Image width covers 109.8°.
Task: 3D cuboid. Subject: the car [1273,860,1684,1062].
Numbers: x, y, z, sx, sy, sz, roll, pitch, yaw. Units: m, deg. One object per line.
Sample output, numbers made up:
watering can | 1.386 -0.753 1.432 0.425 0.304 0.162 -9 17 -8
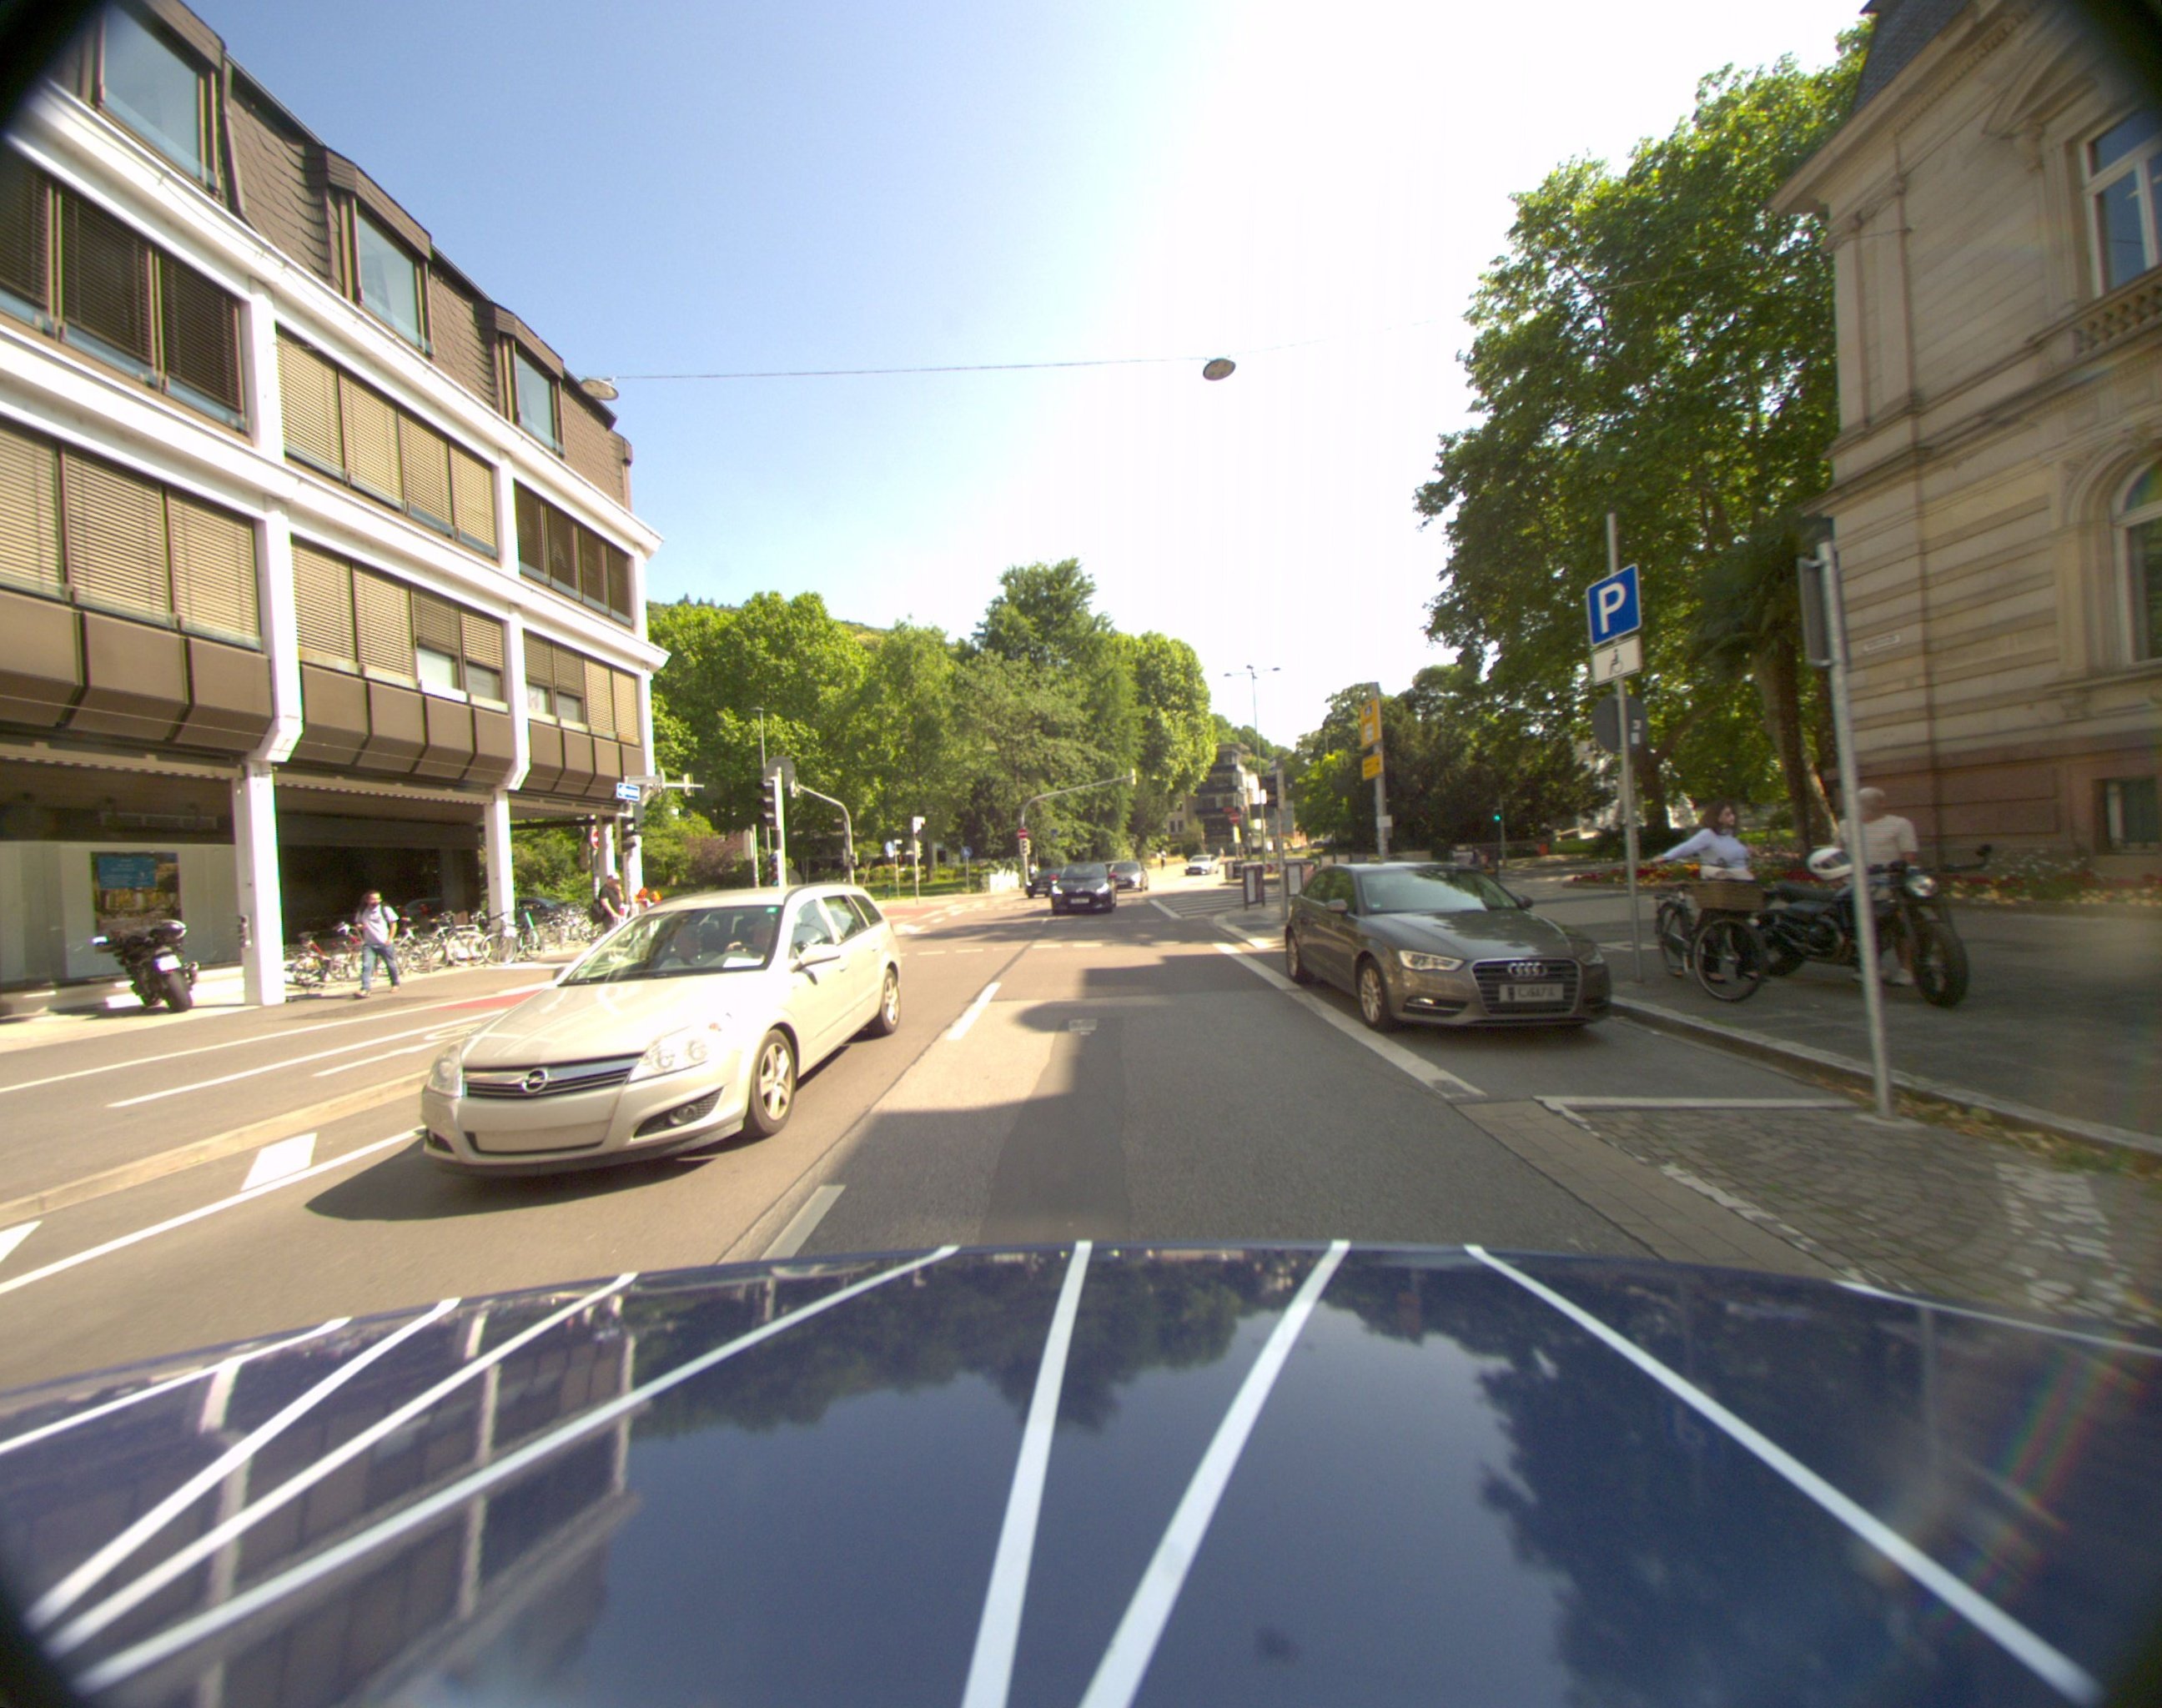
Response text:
car | 3.323 0.779 7.477 1.941 1.346 4.251 -3 -1 3

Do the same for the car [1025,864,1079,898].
car | -1.314 1.241 36.199 1.847 1.420 4.215 -3 -1 7

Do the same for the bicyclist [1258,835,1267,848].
bicyclist | 23.347 -1.664 97.610 0.709 1.603 0.733 -4 1 39

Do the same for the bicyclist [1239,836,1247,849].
bicyclist | 20.011 -1.425 93.825 0.765 1.627 0.944 -2 2 21

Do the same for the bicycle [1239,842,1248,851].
bicycle | 20.055 -0.926 93.880 0.758 1.114 2.004 -2 1 22

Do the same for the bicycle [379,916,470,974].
bicycle | -13.134 1.819 15.199 1.720 1.114 0.278 -2 0 8

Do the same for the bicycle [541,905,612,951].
bicycle | -12.949 1.880 19.528 0.308 1.059 1.474 -2 0 37

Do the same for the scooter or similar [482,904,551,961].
scooter or similar | -13.165 1.820 17.728 1.248 1.225 0.480 -3 0 8

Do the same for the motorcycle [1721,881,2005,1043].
motorcycle | 6.322 0.793 6.343 0.454 0.992 2.162 -5 0 11

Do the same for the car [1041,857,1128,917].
car | 0.208 0.926 22.818 1.809 1.443 3.956 -3 1 11

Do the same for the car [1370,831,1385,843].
car | 45.937 -2.617 117.780 1.848 1.652 4.005 -3 0 19

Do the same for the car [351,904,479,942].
car | -29.590 3.060 33.835 4.093 1.355 1.860 -3 -1 2

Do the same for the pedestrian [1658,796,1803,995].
pedestrian | 5.866 0.355 6.898 0.696 1.685 0.691 -3 2 4

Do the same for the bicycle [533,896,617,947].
bicycle | -14.603 1.913 21.960 1.970 1.309 0.530 -2 -1 -37

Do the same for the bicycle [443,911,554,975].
bicycle | -12.322 1.849 16.181 0.277 1.114 2.245 -3 0 10

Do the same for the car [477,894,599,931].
car | -24.090 2.593 33.798 4.093 1.355 1.860 -3 -1 2

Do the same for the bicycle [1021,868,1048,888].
bicycle | -2.824 1.447 45.929 0.782 1.114 1.680 -2 1 30

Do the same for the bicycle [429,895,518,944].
bicycle | -18.048 1.961 22.639 1.972 1.413 0.530 5 -5 -37

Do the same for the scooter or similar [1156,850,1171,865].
scooter or similar | 7.759 0.319 71.341 0.819 1.291 1.698 -2 1 23

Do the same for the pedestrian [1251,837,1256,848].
pedestrian | 27.189 -1.740 119.862 0.601 1.695 0.605 -4 1 27

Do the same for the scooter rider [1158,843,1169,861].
scooter rider | 7.728 -0.204 71.342 0.822 1.662 0.710 -2 2 22

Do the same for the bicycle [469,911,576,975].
bicycle | -11.928 1.866 16.330 0.277 1.114 2.245 -3 0 10

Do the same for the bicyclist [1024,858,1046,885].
bicyclist | -2.796 1.063 45.871 0.866 1.566 0.945 -2 2 30

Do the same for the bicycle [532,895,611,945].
bicycle | -14.966 1.922 22.344 1.862 1.309 0.530 -2 -1 -37

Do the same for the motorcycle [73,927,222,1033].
motorcycle | -13.694 1.780 11.137 2.237 1.283 0.950 -2 1 30

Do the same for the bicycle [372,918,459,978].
bicycle | -12.837 1.816 14.662 1.573 1.114 0.278 -2 0 8

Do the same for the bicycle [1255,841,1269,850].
bicycle | 23.250 -1.103 97.639 0.709 1.048 2.211 -4 0 39

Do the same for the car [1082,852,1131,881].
car | 1.675 0.766 48.086 1.887 1.674 4.148 -2 -1 20

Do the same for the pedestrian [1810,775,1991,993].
pedestrian | 6.737 0.227 6.299 0.550 1.655 0.937 -3 2 10

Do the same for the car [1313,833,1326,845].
car | 40.854 -2.553 130.144 1.848 1.777 4.006 -3 0 21

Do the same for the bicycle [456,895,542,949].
bicycle | -17.219 1.988 22.519 1.970 1.414 0.530 -2 -1 -37

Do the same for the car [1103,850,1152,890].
car | 2.236 0.728 35.575 1.889 1.674 4.144 -3 -1 7

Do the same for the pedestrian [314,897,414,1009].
pedestrian | -11.289 1.543 11.985 0.834 1.654 0.697 -3 2 10

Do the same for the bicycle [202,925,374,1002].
bicycle | -13.558 1.861 13.029 2.243 1.090 0.277 -3 0 -12

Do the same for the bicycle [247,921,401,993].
bicycle | -13.576 1.843 13.649 2.242 1.114 0.277 -3 0 -6

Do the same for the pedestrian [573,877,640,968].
pedestrian | -10.007 1.439 16.042 0.834 1.825 0.697 -3 2 10

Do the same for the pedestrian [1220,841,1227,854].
pedestrian | 19.080 -0.908 101.624 0.710 1.663 0.535 -3 1 19

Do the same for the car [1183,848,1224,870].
car | 9.066 0.349 56.082 1.938 1.421 4.556 -3 0 22

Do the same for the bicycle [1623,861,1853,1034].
bicycle | 5.483 0.688 6.538 0.430 1.114 2.244 -5 1 13

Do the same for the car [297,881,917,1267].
car | -2.614 1.072 5.629 1.711 1.513 4.407 -4 0 0

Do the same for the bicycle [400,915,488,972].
bicycle | -13.080 1.831 15.593 1.720 1.114 0.278 -2 0 8

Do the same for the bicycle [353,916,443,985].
bicycle | -12.853 1.819 14.294 1.548 1.199 0.278 -3 0 8

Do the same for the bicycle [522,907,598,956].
bicycle | -12.850 1.890 18.756 1.474 1.059 0.376 -2 0 -42
